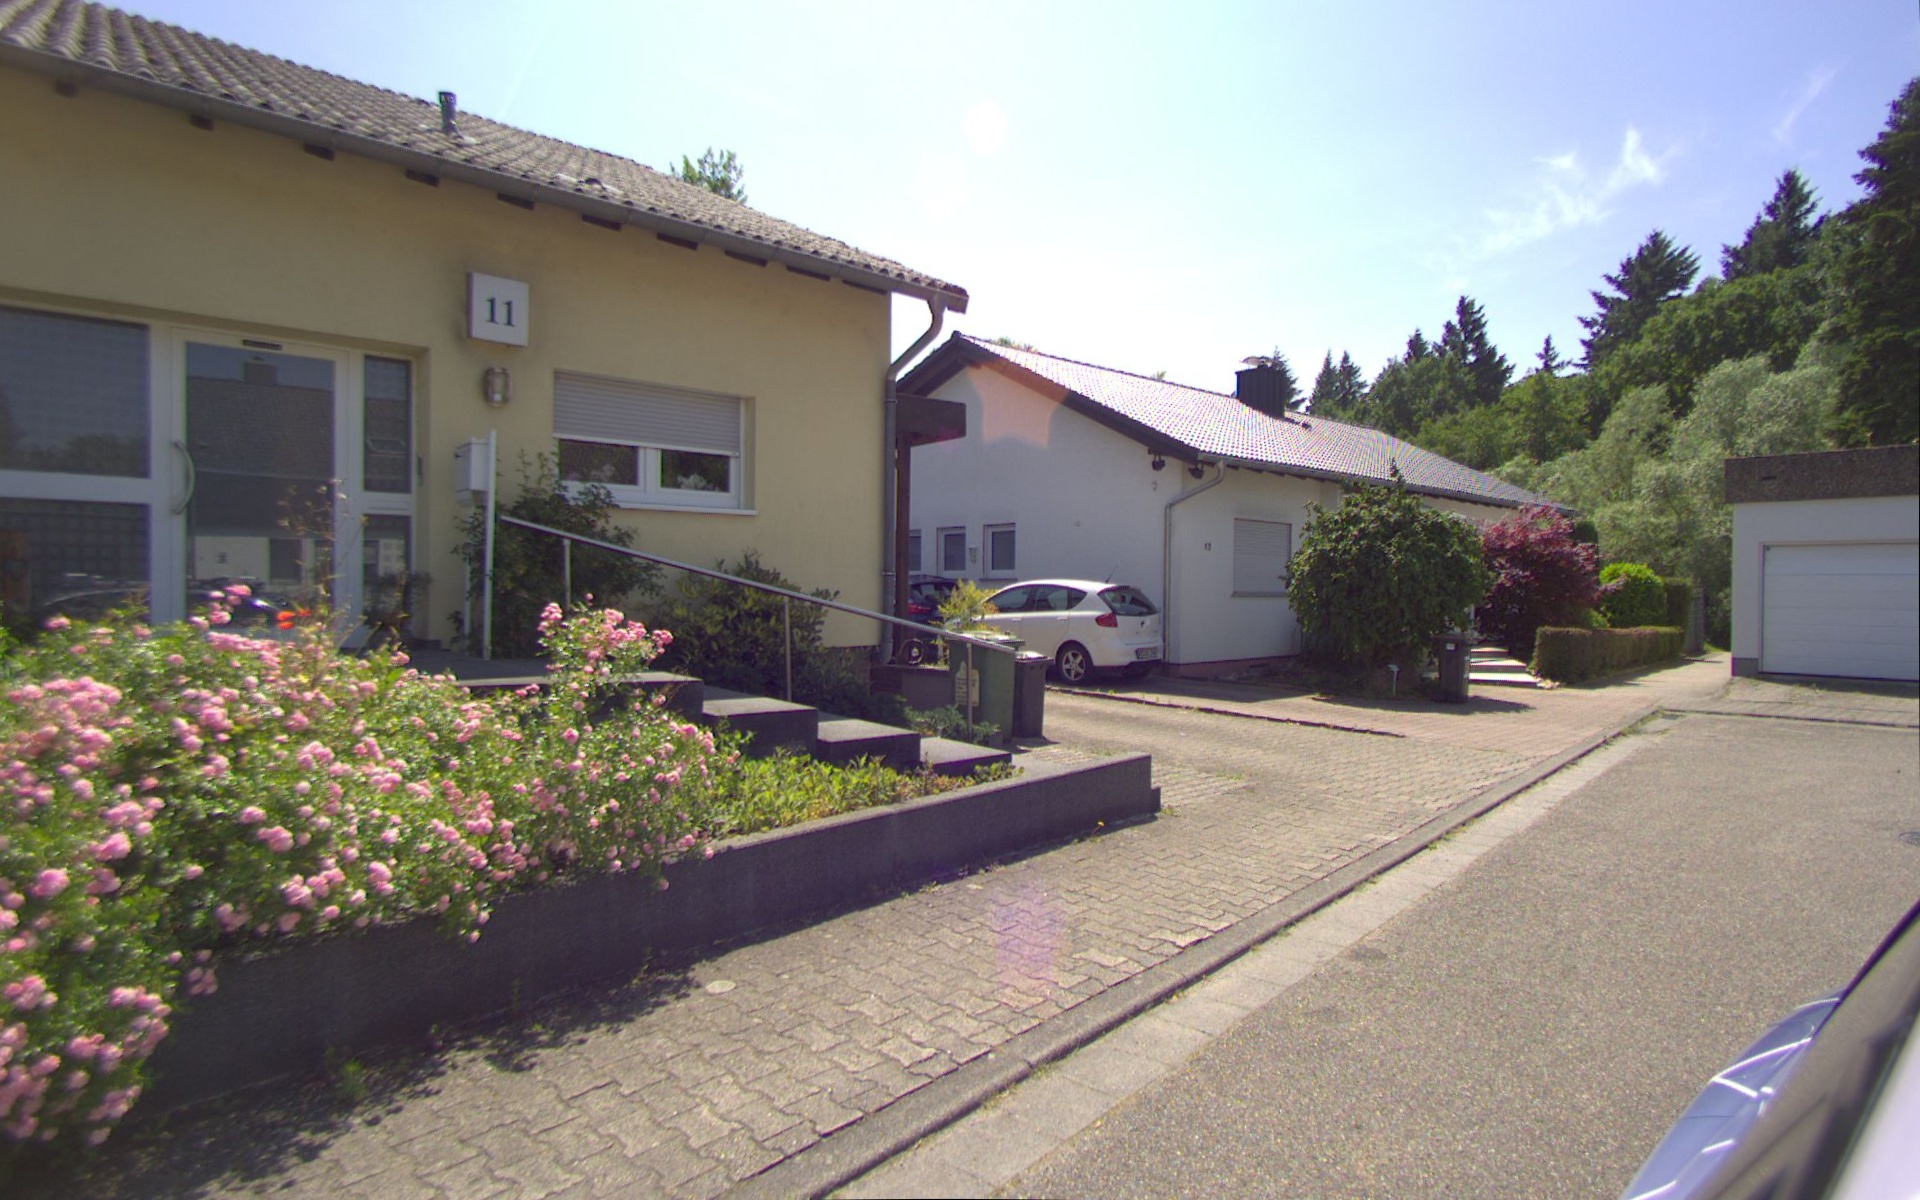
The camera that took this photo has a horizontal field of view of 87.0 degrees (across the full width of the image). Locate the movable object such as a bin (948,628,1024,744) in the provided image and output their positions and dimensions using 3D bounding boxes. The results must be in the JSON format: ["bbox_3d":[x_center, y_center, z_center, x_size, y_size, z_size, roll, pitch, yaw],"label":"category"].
[{"bbox_3d":[0.260,0.822,9.939,0.490,1.054,0.584,1,1,41],"label":"movable object such as a bin"}]

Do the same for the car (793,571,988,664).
[{"bbox_3d":[-1.469,0.258,20.186,1.895,1.627,3.995,-1,2,-40],"label":"car"}]

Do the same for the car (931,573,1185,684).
[{"bbox_3d":[1.503,0.363,16.562,1.723,1.588,3.990,0,1,-44],"label":"car"}]

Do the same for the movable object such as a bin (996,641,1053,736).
[{"bbox_3d":[0.658,0.885,10.287,0.425,0.902,0.401,1,1,42],"label":"movable object such as a bin"}]

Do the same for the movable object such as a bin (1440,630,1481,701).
[{"bbox_3d":[6.758,0.876,13.678,0.369,0.902,0.390,-1,1,-42],"label":"movable object such as a bin"}]

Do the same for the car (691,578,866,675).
[{"bbox_3d":[-3.272,0.395,17.901,1.591,1.473,3.250,0,2,-41],"label":"car"}]
